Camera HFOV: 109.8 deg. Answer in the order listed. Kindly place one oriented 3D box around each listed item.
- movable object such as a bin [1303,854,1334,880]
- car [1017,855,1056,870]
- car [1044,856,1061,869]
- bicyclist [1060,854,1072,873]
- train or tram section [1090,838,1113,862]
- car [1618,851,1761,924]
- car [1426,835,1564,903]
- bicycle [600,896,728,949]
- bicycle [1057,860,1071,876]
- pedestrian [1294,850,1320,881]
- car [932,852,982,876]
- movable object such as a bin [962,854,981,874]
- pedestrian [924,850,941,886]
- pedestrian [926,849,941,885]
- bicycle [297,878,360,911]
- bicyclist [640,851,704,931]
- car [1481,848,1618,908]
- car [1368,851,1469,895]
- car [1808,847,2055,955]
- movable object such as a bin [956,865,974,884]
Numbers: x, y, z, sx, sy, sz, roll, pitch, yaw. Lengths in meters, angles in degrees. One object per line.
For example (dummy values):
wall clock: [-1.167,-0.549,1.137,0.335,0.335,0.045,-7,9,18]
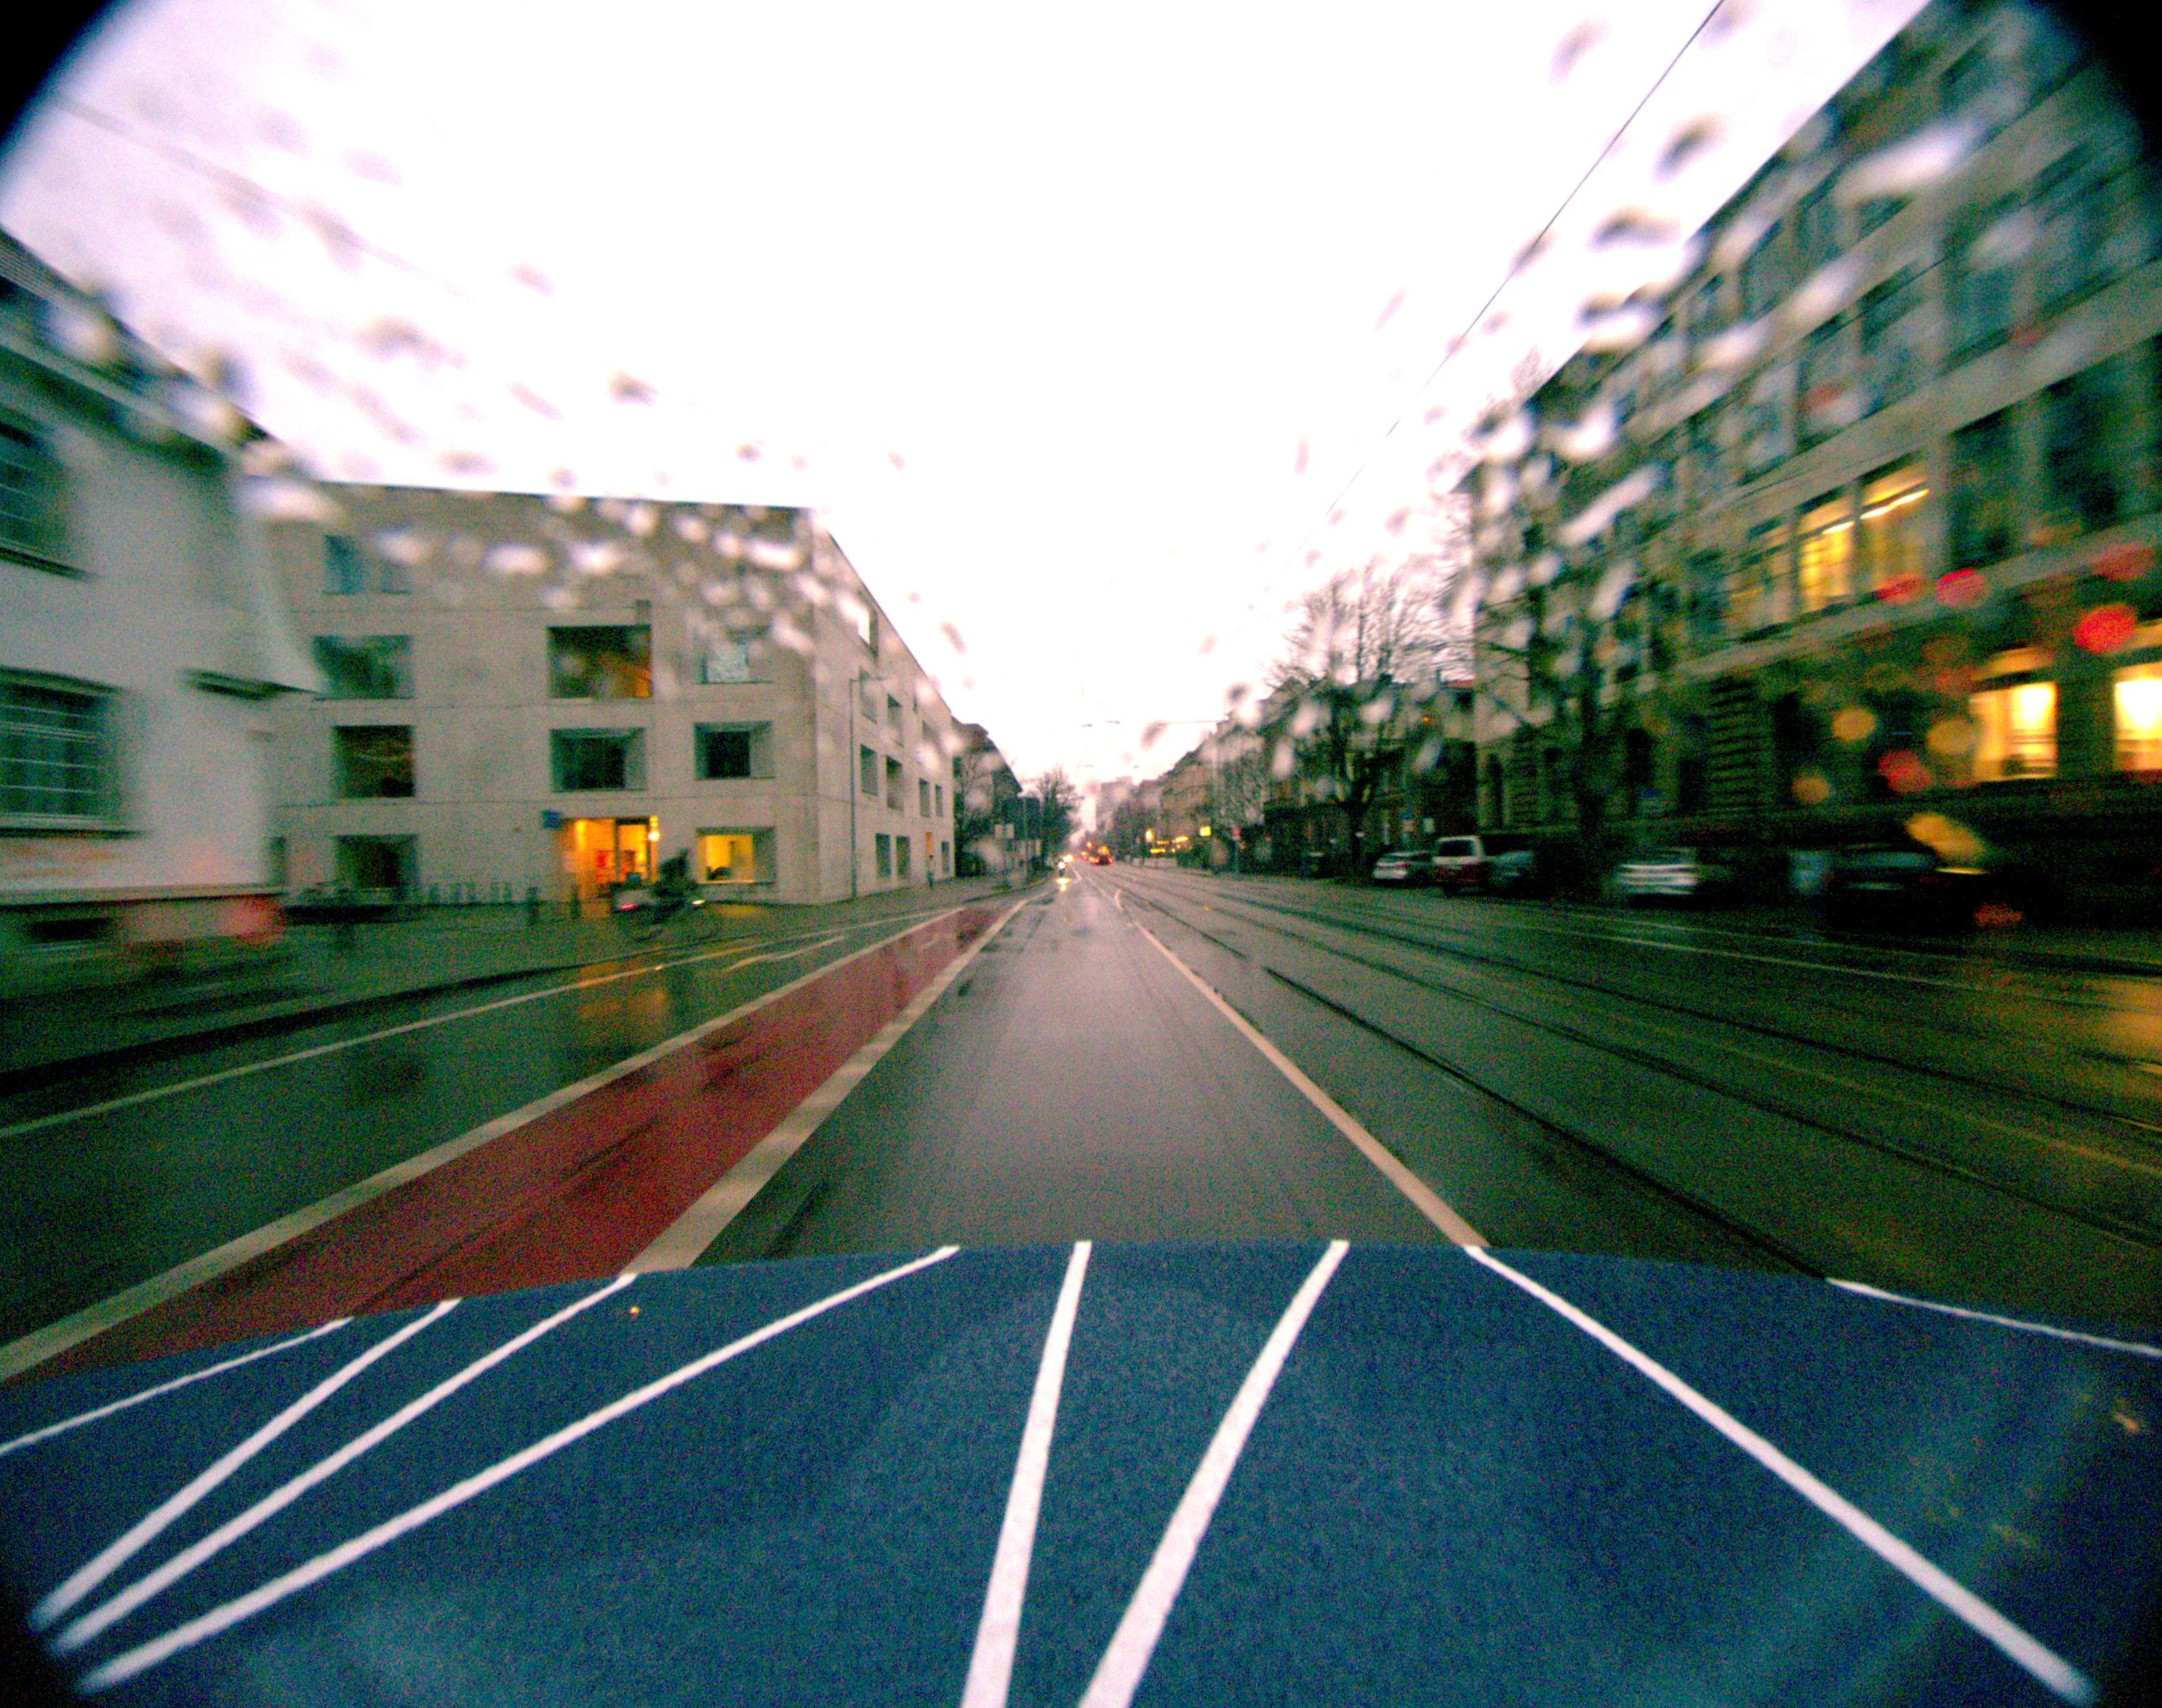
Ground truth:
movable object such as a bin: [13.792,0.745,44.069,0.988,1.456,1.341,-3,1,-38]
car: [-4.932,0.918,83.365,3.859,1.421,1.860,-3,1,-17]
car: [-3.542,1.003,94.263,1.658,1.507,3.502,-3,0,4]
bicyclist: [-1.100,0.700,56.556,0.716,1.335,0.720,-3,1,6]
train or tram section: [3.514,-0.765,137.819,2.886,3.715,27.328,-3,0,-1]
car: [14.896,0.756,18.553,3.833,1.449,1.633,-3,1,-34]
car: [14.553,0.476,26.663,4.628,2.041,1.962,-3,1,-28]
bicycle: [-8.620,1.400,15.769,2.120,0.938,0.944,2,1,3]
bicycle: [-1.250,1.047,56.467,0.723,1.083,2.287,-2,-1,6]
pedestrian: [12.950,0.662,43.563,0.925,1.693,0.946,-3,1,-23]
car: [-9.452,0.718,57.889,3.458,1.637,1.731,-3,1,-1]
movable object such as a bin: [-8.292,0.747,57.768,1.259,1.437,1.418,0,1,-1]
pedestrian: [-7.887,0.737,40.363,0.773,1.848,0.718,0,1,1]
pedestrian: [-7.824,0.680,40.360,0.657,1.849,0.659,0,1,1]
bicycle: [-24.431,1.308,24.707,0.408,0.974,1.555,-1,1,3]
bicyclist: [-8.413,0.744,15.645,0.856,1.586,0.781,0,1,4]
car: [14.531,0.701,23.531,3.982,1.530,1.820,-3,1,-28]
car: [14.475,0.773,32.570,4.190,1.581,1.771,-3,1,-30]
car: [14.981,0.715,13.355,4.483,1.449,1.796,-3,1,-27]
movable object such as a bin: [-9.153,1.640,60.127,1.260,1.437,1.418,0,1,-3]
